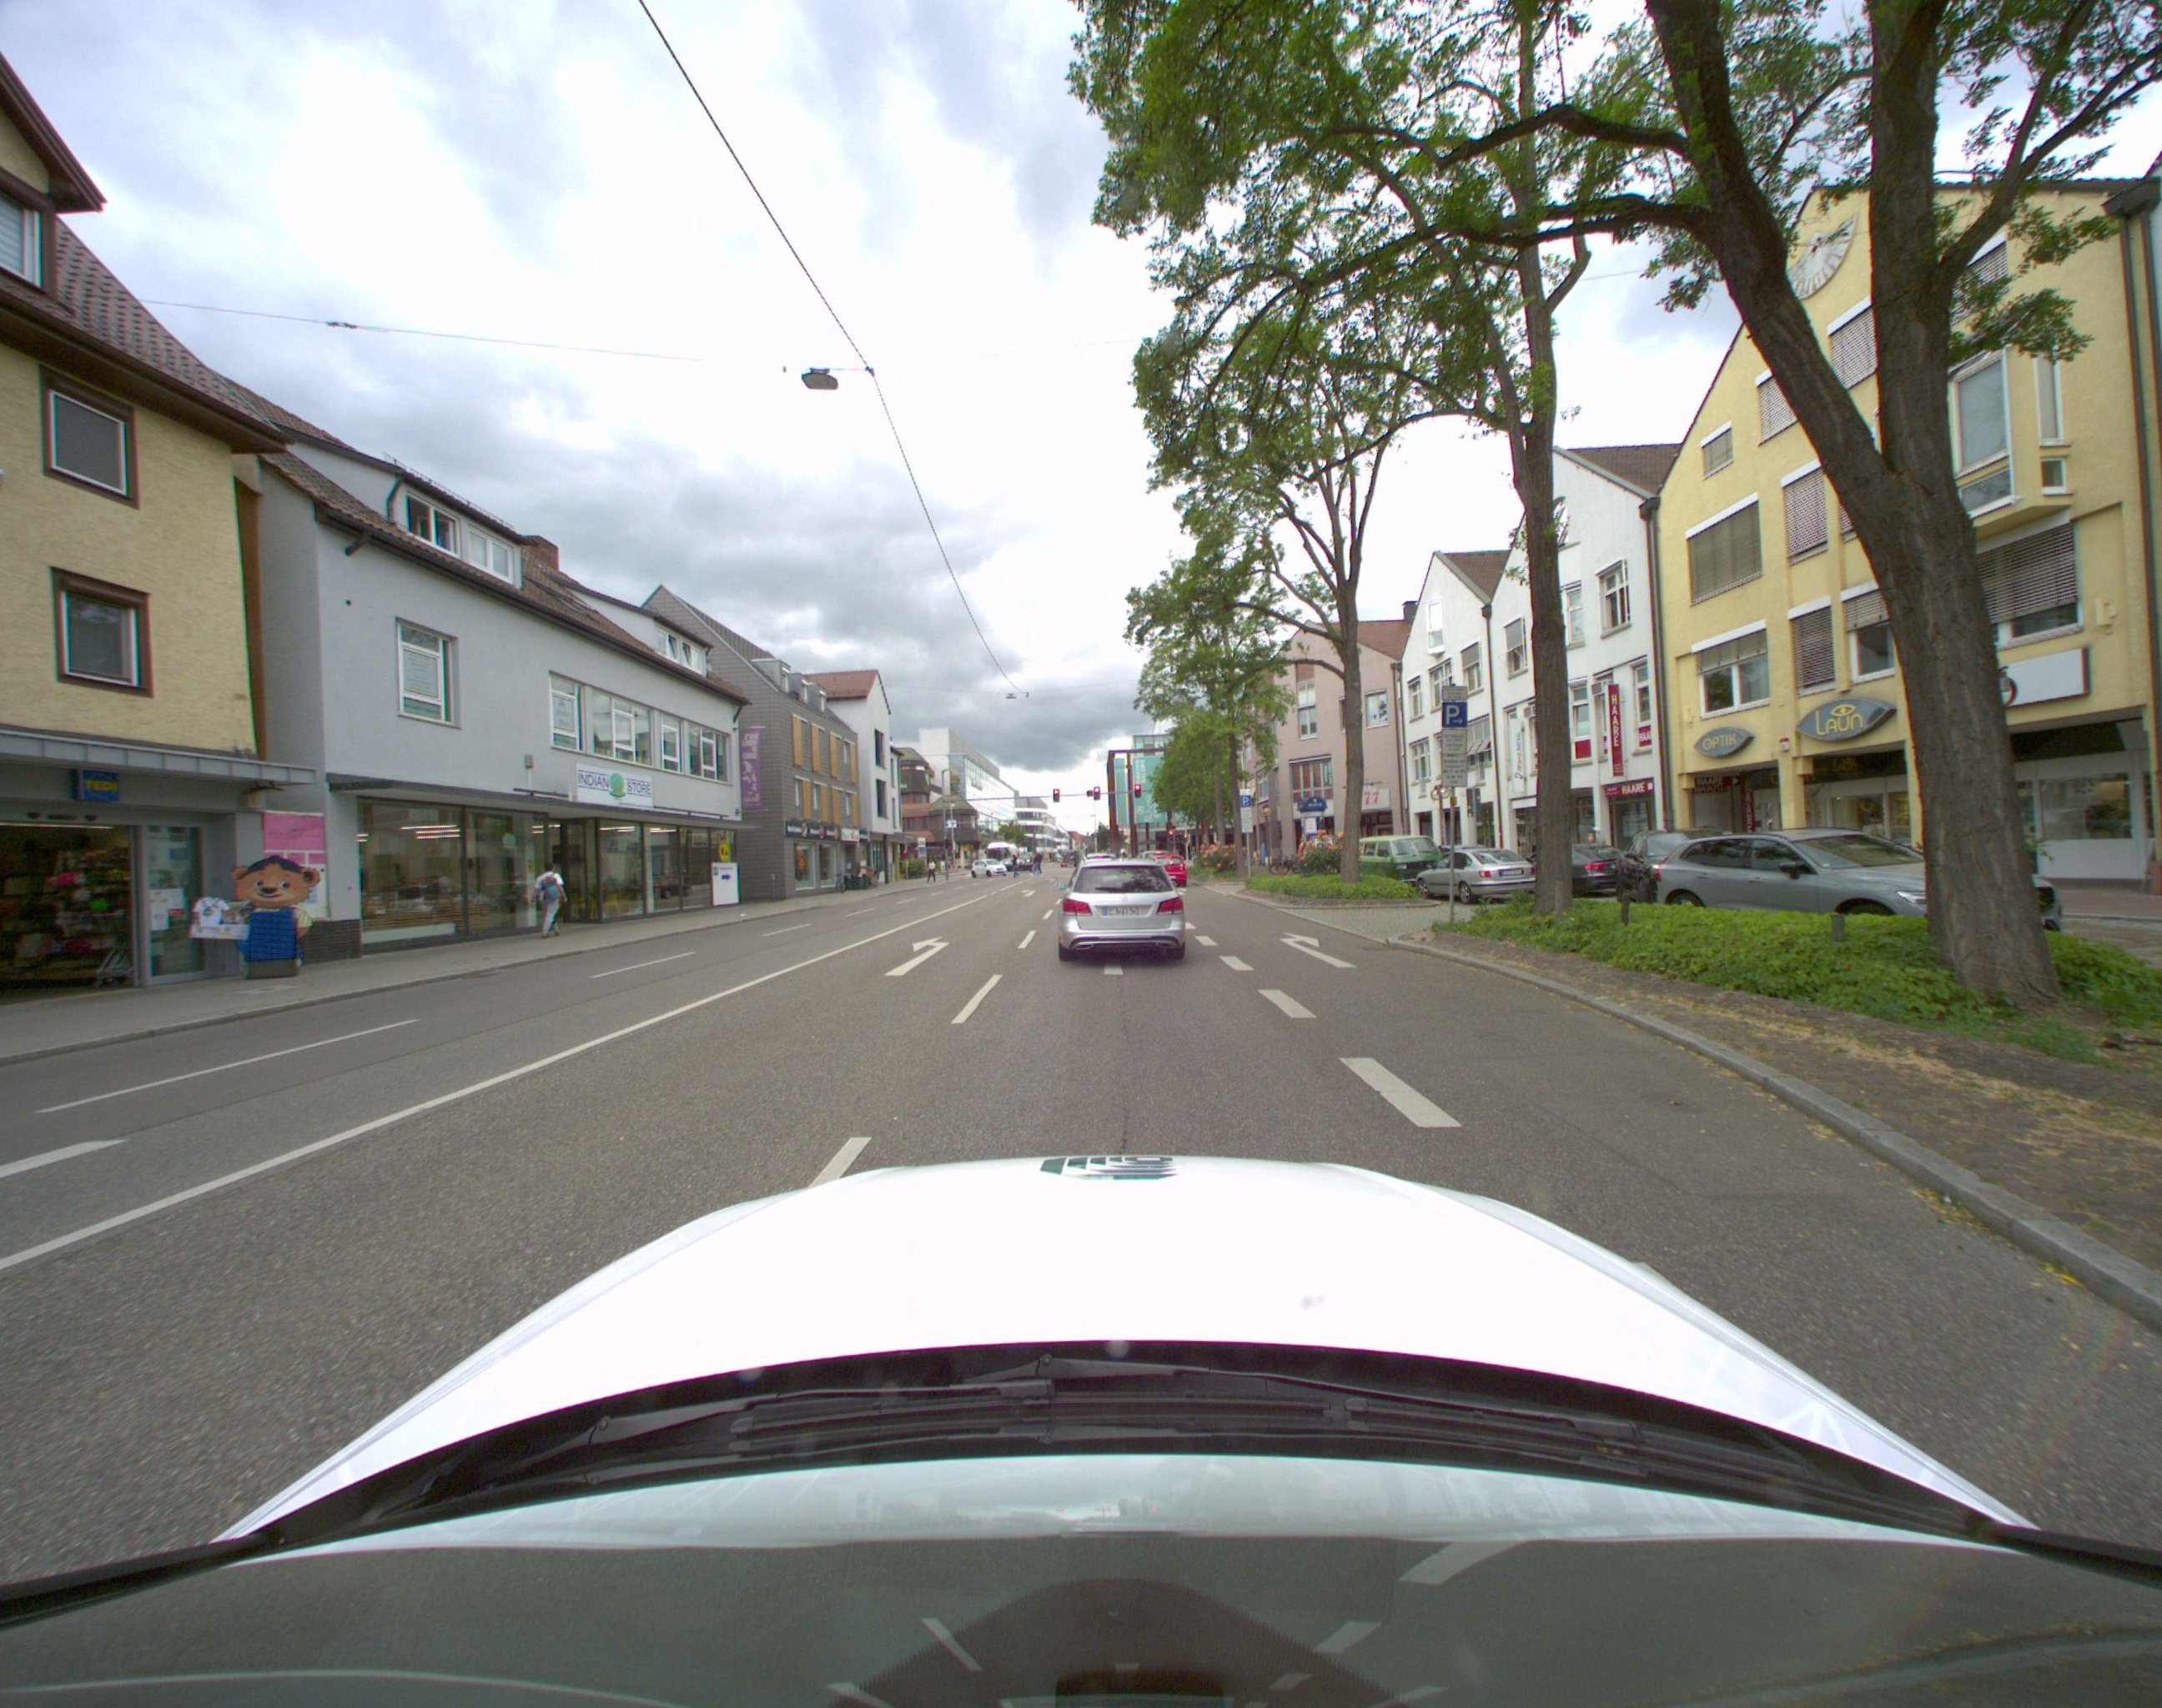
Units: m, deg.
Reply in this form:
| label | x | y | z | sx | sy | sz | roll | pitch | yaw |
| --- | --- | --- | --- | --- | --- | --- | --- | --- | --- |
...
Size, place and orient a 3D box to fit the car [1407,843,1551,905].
| label | x | y | z | sx | sy | sz | roll | pitch | yaw |
| --- | --- | --- | --- | --- | --- | --- | --- | --- | --- |
| car | 10.822 | 0.502 | 22.531 | 1.757 | 1.450 | 4.418 | -3 | 0 | -1 |

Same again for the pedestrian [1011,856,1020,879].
| label | x | y | z | sx | sy | sz | roll | pitch | yaw |
| --- | --- | --- | --- | --- | --- | --- | --- | --- | --- |
| pedestrian | -4.823 | 0.995 | 60.145 | 0.556 | 1.650 | 0.653 | -2 | 0 | -2 |

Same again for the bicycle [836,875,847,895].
| label | x | y | z | sx | sy | sz | roll | pitch | yaw |
| --- | --- | --- | --- | --- | --- | --- | --- | --- | --- |
| bicycle | -12.113 | 1.544 | 41.160 | 0.326 | 0.954 | 1.478 | -2 | 0 | -9 |

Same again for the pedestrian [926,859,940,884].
| label | x | y | z | sx | sy | sz | roll | pitch | yaw |
| --- | --- | --- | --- | --- | --- | --- | --- | --- | --- |
| pedestrian | -10.100 | 1.190 | 55.581 | 0.725 | 1.610 | 0.753 | -2 | 0 | 1 |

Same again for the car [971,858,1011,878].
| label | x | y | z | sx | sy | sz | roll | pitch | yaw |
| --- | --- | --- | --- | --- | --- | --- | --- | --- | --- |
| car | -7.414 | 1.134 | 66.840 | 1.587 | 1.488 | 3.424 | -3 | 0 | -38 |

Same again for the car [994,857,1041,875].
| label | x | y | z | sx | sy | sz | roll | pitch | yaw |
| --- | --- | --- | --- | --- | --- | --- | --- | --- | --- |
| car | -5.984 | 1.166 | 76.857 | 4.172 | 1.530 | 1.790 | -2 | 0 | 1 |

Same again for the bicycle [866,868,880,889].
| label | x | y | z | sx | sy | sz | roll | pitch | yaw |
| --- | --- | --- | --- | --- | --- | --- | --- | --- | --- |
| bicycle | -12.276 | 1.436 | 48.123 | 0.385 | 1.186 | 1.825 | -3 | 0 | -2 |

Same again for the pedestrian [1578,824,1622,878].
| label | x | y | z | sx | sy | sz | roll | pitch | yaw |
| --- | --- | --- | --- | --- | --- | --- | --- | --- | --- |
| pedestrian | 16.677 | -0.101 | 26.206 | 0.786 | 1.659 | 0.819 | -4 | 0 | 1 |

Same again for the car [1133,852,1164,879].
| label | x | y | z | sx | sy | sz | roll | pitch | yaw |
| --- | --- | --- | --- | --- | --- | --- | --- | --- | --- |
| car | 4.109 | 0.696 | 50.274 | 1.581 | 1.595 | 3.867 | 0 | 0 | 0 |

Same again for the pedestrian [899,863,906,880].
| label | x | y | z | sx | sy | sz | roll | pitch | yaw |
| --- | --- | --- | --- | --- | --- | --- | --- | --- | --- |
| pedestrian | -15.007 | 1.470 | 68.427 | 0.448 | 1.428 | 0.441 | -3 | 0 | 2 |

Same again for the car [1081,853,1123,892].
| label | x | y | z | sx | sy | sz | roll | pitch | yaw |
| --- | --- | --- | --- | --- | --- | --- | --- | --- | --- |
| car | 0.880 | 0.746 | 34.418 | 1.634 | 1.527 | 3.394 | -1 | 0 | 1 |

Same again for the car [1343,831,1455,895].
| label | x | y | z | sx | sy | sz | roll | pitch | yaw |
| --- | --- | --- | --- | --- | --- | --- | --- | --- | --- |
| car | 10.694 | 0.292 | 27.785 | 1.874 | 1.876 | 4.604 | -4 | 0 | -1 |

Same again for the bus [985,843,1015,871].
| label | x | y | z | sx | sy | sz | roll | pitch | yaw |
| --- | --- | --- | --- | --- | --- | --- | --- | --- | --- |
| bus | -10.070 | 0.360 | 101.628 | 2.678 | 3.261 | 8.653 | -2 | 0 | 0 |

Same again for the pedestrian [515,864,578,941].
| label | x | y | z | sx | sy | sz | roll | pitch | yaw |
| --- | --- | --- | --- | --- | --- | --- | --- | --- | --- |
| pedestrian | -12.206 | 1.088 | 18.621 | 0.751 | 1.705 | 0.981 | 1 | 0 | 1 |

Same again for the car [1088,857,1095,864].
| label | x | y | z | sx | sy | sz | roll | pitch | yaw |
| --- | --- | --- | --- | --- | --- | --- | --- | --- | --- |
| car | 2.560 | 1.594 | 201.953 | 1.710 | 1.706 | 4.064 | -2 | 0 | 0 |

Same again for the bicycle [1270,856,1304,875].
| label | x | y | z | sx | sy | sz | roll | pitch | yaw |
| --- | --- | --- | --- | --- | --- | --- | --- | --- | --- |
| bicycle | 11.722 | 0.642 | 46.394 | 1.760 | 0.997 | 0.447 | -2 | 0 | 5 |

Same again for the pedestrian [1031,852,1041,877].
| label | x | y | z | sx | sy | sz | roll | pitch | yaw |
| --- | --- | --- | --- | --- | --- | --- | --- | --- | --- |
| pedestrian | -3.303 | 0.753 | 59.445 | 0.646 | 1.790 | 0.682 | -2 | 0 | -8 |

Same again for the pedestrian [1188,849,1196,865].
| label | x | y | z | sx | sy | sz | roll | pitch | yaw |
| --- | --- | --- | --- | --- | --- | --- | --- | --- | --- |
| pedestrian | 11.827 | 0.314 | 86.575 | 0.652 | 1.650 | 0.557 | -2 | 0 | -13 |

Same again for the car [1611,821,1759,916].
| label | x | y | z | sx | sy | sz | roll | pitch | yaw |
| --- | --- | --- | --- | --- | --- | --- | --- | --- | --- |
| car | 12.429 | 0.227 | 17.069 | 1.835 | 1.670 | 4.693 | -4 | 0 | 29 |

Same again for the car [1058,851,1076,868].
| label | x | y | z | sx | sy | sz | roll | pitch | yaw |
| --- | --- | --- | --- | --- | --- | --- | --- | --- | --- |
| car | -1.729 | 0.626 | 100.652 | 1.986 | 1.949 | 4.952 | -2 | 0 | 2 |

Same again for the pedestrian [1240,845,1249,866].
| label | x | y | z | sx | sy | sz | roll | pitch | yaw |
| --- | --- | --- | --- | --- | --- | --- | --- | --- | --- |
| pedestrian | 14.085 | 0.091 | 70.159 | 0.566 | 1.775 | 0.648 | -2 | 0 | 5 |

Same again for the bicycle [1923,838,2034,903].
| label | x | y | z | sx | sy | sz | roll | pitch | yaw |
| --- | --- | --- | --- | --- | --- | --- | --- | --- | --- |
| bicycle | 15.602 | 0.274 | 14.199 | 0.390 | 1.044 | 1.379 | -3 | 0 | 1 |

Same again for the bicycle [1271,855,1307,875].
| label | x | y | z | sx | sy | sz | roll | pitch | yaw |
| --- | --- | --- | --- | --- | --- | --- | --- | --- | --- |
| bicycle | 11.697 | 0.620 | 45.847 | 1.892 | 0.997 | 0.468 | -2 | 0 | 5 |

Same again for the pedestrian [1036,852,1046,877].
| label | x | y | z | sx | sy | sz | roll | pitch | yaw |
| --- | --- | --- | --- | --- | --- | --- | --- | --- | --- |
| pedestrian | -2.981 | 0.757 | 60.125 | 0.644 | 1.775 | 0.569 | -2 | 0 | -7 |

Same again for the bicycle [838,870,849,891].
| label | x | y | z | sx | sy | sz | roll | pitch | yaw |
| --- | --- | --- | --- | --- | --- | --- | --- | --- | --- |
| bicycle | -13.294 | 1.455 | 45.546 | 0.386 | 1.127 | 1.286 | -3 | 0 | -9 |

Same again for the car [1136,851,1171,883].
| label | x | y | z | sx | sy | sz | roll | pitch | yaw |
| --- | --- | --- | --- | --- | --- | --- | --- | --- | --- |
| car | 3.885 | 0.668 | 44.107 | 1.581 | 1.634 | 3.915 | 0 | 0 | 0 |

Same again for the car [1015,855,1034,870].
| label | x | y | z | sx | sy | sz | roll | pitch | yaw |
| --- | --- | --- | --- | --- | --- | --- | --- | --- | --- |
| car | -6.813 | 1.038 | 99.028 | 1.987 | 1.706 | 4.064 | -2 | 0 | 0 |

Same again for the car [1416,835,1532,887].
| label | x | y | z | sx | sy | sz | roll | pitch | yaw |
| --- | --- | --- | --- | --- | --- | --- | --- | --- | --- |
| car | 13.346 | 0.231 | 27.984 | 1.790 | 1.542 | 4.393 | -4 | 0 | -1 |

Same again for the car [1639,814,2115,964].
| label | x | y | z | sx | sy | sz | roll | pitch | yaw |
| --- | --- | --- | --- | --- | --- | --- | --- | --- | --- |
| car | 10.593 | 0.400 | 11.538 | 1.988 | 1.595 | 4.760 | -3 | 0 | -2 |

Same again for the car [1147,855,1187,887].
| label | x | y | z | sx | sy | sz | roll | pitch | yaw |
| --- | --- | --- | --- | --- | --- | --- | --- | --- | --- |
| car | 3.973 | 0.752 | 37.984 | 1.581 | 1.443 | 3.349 | 0 | 0 | 1 |

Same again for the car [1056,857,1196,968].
| label | x | y | z | sx | sy | sz | roll | pitch | yaw |
| --- | --- | --- | --- | --- | --- | --- | --- | --- | --- |
| car | 0.531 | 0.783 | 12.983 | 1.810 | 1.448 | 4.365 | 0 | 0 | -2 |

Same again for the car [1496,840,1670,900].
| label | x | y | z | sx | sy | sz | roll | pitch | yaw |
| --- | --- | --- | --- | --- | --- | --- | --- | --- | --- |
| car | 13.595 | 0.394 | 22.425 | 1.991 | 1.376 | 4.418 | -4 | 0 | -1 |

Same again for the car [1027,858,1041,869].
| label | x | y | z | sx | sy | sz | roll | pitch | yaw |
| --- | --- | --- | --- | --- | --- | --- | --- | --- | --- |
| car | -6.159 | 1.189 | 106.277 | 1.550 | 1.392 | 3.287 | -2 | 0 | 0 |
